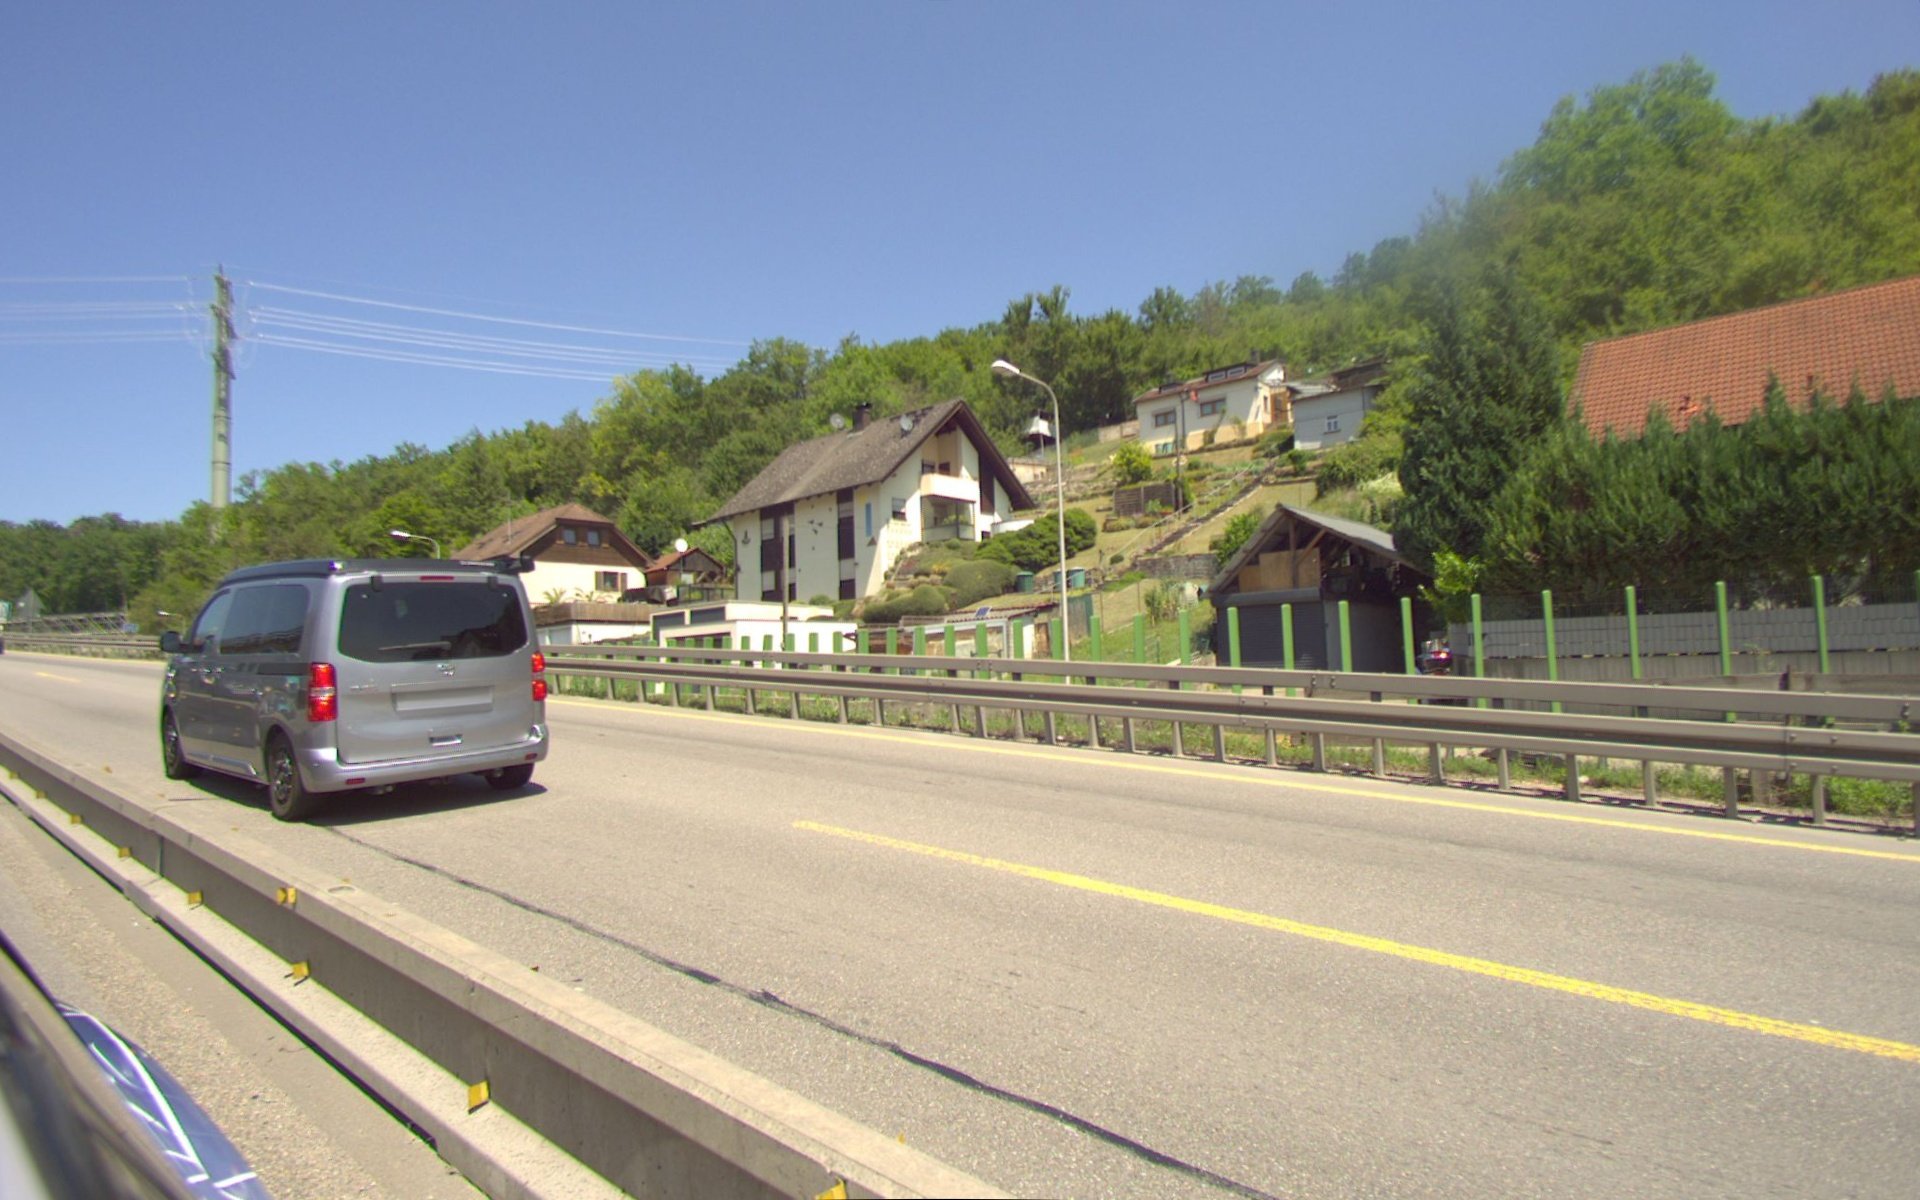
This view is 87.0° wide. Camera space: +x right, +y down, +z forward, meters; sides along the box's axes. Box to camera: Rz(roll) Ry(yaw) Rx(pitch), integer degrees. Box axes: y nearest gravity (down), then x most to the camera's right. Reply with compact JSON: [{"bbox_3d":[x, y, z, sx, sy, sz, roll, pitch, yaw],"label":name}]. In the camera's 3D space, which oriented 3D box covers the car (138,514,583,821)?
[{"bbox_3d":[-5.575,0.499,9.089,4.967,2.029,1.972,-1,-2,41],"label":"car"}]
